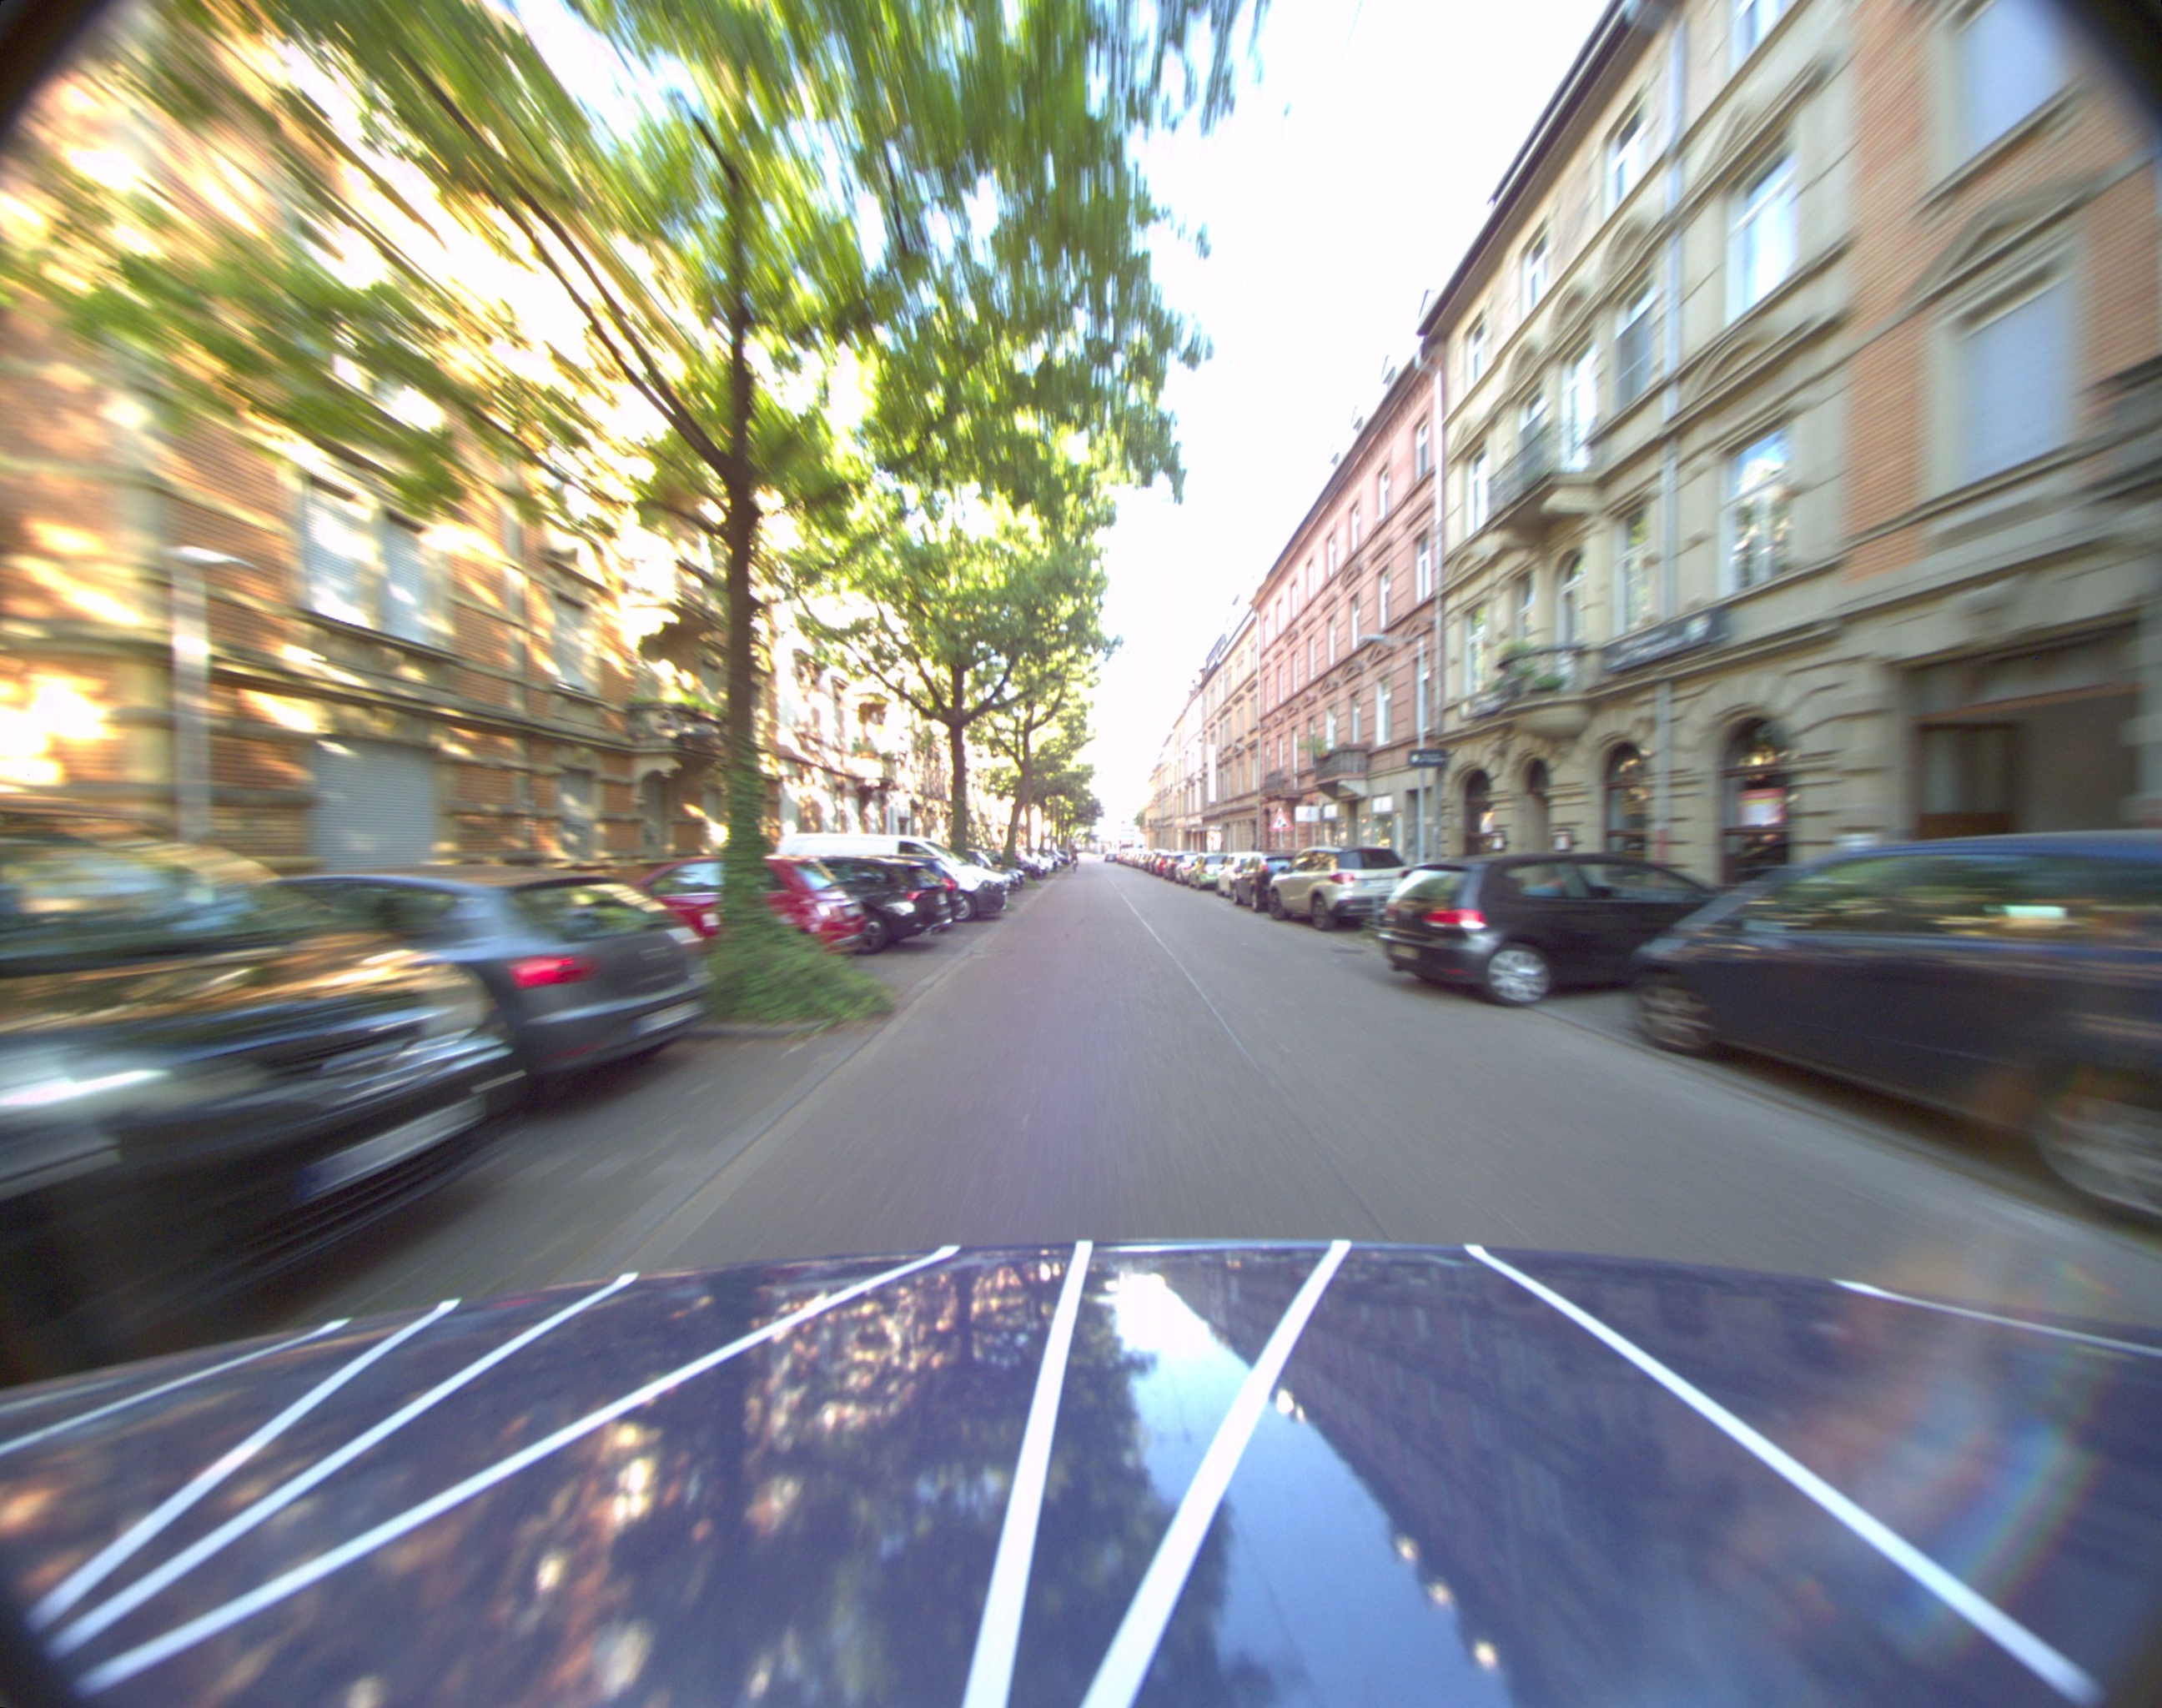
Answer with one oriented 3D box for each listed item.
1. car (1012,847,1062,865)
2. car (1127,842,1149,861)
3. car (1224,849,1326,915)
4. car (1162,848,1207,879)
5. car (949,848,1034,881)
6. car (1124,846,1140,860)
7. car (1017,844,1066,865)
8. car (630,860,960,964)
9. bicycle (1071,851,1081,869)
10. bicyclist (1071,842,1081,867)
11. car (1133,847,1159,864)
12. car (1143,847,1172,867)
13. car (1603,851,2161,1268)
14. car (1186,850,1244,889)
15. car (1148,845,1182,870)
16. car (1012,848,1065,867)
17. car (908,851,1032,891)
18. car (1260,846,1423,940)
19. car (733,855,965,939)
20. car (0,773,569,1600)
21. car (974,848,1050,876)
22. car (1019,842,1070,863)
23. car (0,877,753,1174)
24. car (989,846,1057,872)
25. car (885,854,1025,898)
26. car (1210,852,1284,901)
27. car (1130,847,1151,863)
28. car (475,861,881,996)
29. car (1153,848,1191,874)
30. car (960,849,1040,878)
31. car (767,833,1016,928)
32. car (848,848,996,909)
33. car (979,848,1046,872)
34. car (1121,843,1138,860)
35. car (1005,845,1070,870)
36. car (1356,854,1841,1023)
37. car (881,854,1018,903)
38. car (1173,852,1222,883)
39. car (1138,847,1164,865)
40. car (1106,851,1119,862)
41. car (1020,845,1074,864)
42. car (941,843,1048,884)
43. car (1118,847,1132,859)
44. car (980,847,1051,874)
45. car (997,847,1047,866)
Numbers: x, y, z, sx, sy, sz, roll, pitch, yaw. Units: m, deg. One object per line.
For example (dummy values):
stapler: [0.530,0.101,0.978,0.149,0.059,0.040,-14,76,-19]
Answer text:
car: [-3.708,0.163,64.658,4.155,1.447,1.936,1,1,0]
car: [6.014,-0.279,80.348,1.847,1.823,4.606,-1,1,0]
car: [5.057,0.666,20.352,1.651,1.464,3.999,-3,1,0]
car: [5.420,0.446,40.280,1.825,1.468,4.423,-2,1,1]
car: [-4.305,0.485,37.035,3.998,1.581,1.782,0,1,-3]
car: [6.116,-0.150,91.475,1.771,1.648,4.157,-1,1,1]
car: [-3.485,0.043,67.505,4.134,1.778,1.945,0,1,3]
car: [-4.247,0.846,11.832,4.380,1.447,1.933,0,1,1]
bicycle: [-0.352,0.427,55.685,0.712,1.252,1.887,0,1,1]
bicyclist: [-0.336,0.038,55.726,0.712,1.865,1.120,0,1,1]
car: [5.849,0.129,68.869,1.891,1.436,4.541,-1,1,-1]
car: [5.790,0.224,57.966,1.867,1.464,4.488,0,1,2]
car: [5.032,0.783,4.146,1.746,1.558,3.894,0,1,1]
car: [5.358,0.573,30.726,1.709,1.431,3.958,0,1,1]
car: [5.604,0.215,51.293,1.825,1.591,4.313,-2,1,1]
car: [-3.286,0.268,59.584,3.996,1.448,1.687,-1,1,1]
car: [-4.361,0.653,30.377,4.563,1.521,2.000,0,1,2]
car: [5.114,0.676,15.533,1.652,1.565,4.047,-3,1,-4]
car: [-4.287,0.785,14.620,3.999,1.466,1.780,1,1,-7]
car: [-4.574,0.764,2.572,4.280,1.874,1.938,0,1,-3]
car: [-3.797,0.419,42.335,3.997,1.380,1.677,2,1,0]
car: [-3.599,-0.166,75.015,4.933,1.890,2.175,2,1,-3]
car: [-4.571,0.919,4.981,3.995,1.439,1.890,0,1,5]
car: [-3.910,0.329,51.873,4.487,1.647,1.890,-1,2,0]
car: [-4.431,0.761,27.325,4.671,1.494,1.932,0,1,1]
car: [5.419,0.679,25.209,1.586,1.464,3.999,0,1,0]
car: [5.829,0.076,75.023,1.751,1.464,4.244,-1,1,0]
car: [-4.812,0.850,9.522,4.091,1.489,1.843,0,1,1]
car: [5.557,0.405,46.825,1.825,1.417,4.313,-2,1,1]
car: [-4.175,0.489,39.630,3.998,1.454,1.782,0,1,-3]
car: [-4.161,0.547,17.418,5.104,1.930,2.157,-1,4,1]
car: [-4.474,0.663,21.863,3.894,1.639,1.724,0,1,-2]
car: [-4.411,0.398,49.392,4.110,1.461,1.801,-1,1,2]
car: [6.175,-0.349,97.644,1.947,2.045,4.744,-1,1,1]
car: [-3.114,0.230,54.817,4.486,1.647,1.891,-1,2,2]
car: [5.251,0.781,8.064,3.999,1.521,1.825,0,1,-5]
car: [-4.249,0.775,24.939,4.115,1.494,1.811,0,1,2]
car: [5.374,0.583,35.406,1.709,1.315,4.101,0,1,1]
car: [5.908,0.159,64.401,1.761,1.464,4.087,-1,1,0]
car: [4.870,0.440,118.233,1.868,1.620,3.825,-1,1,2]
car: [-3.205,0.023,71.812,4.933,1.623,2.077,2,1,-3]
car: [-3.822,0.402,34.350,4.657,1.693,1.881,1,1,-3]
car: [5.994,-0.159,103.179,1.641,1.482,3.825,-1,1,1]
car: [-3.990,0.390,46.720,4.234,1.527,1.800,-1,1,-2]
car: [-4.827,0.225,62.148,3.998,1.486,1.686,-1,1,-2]
